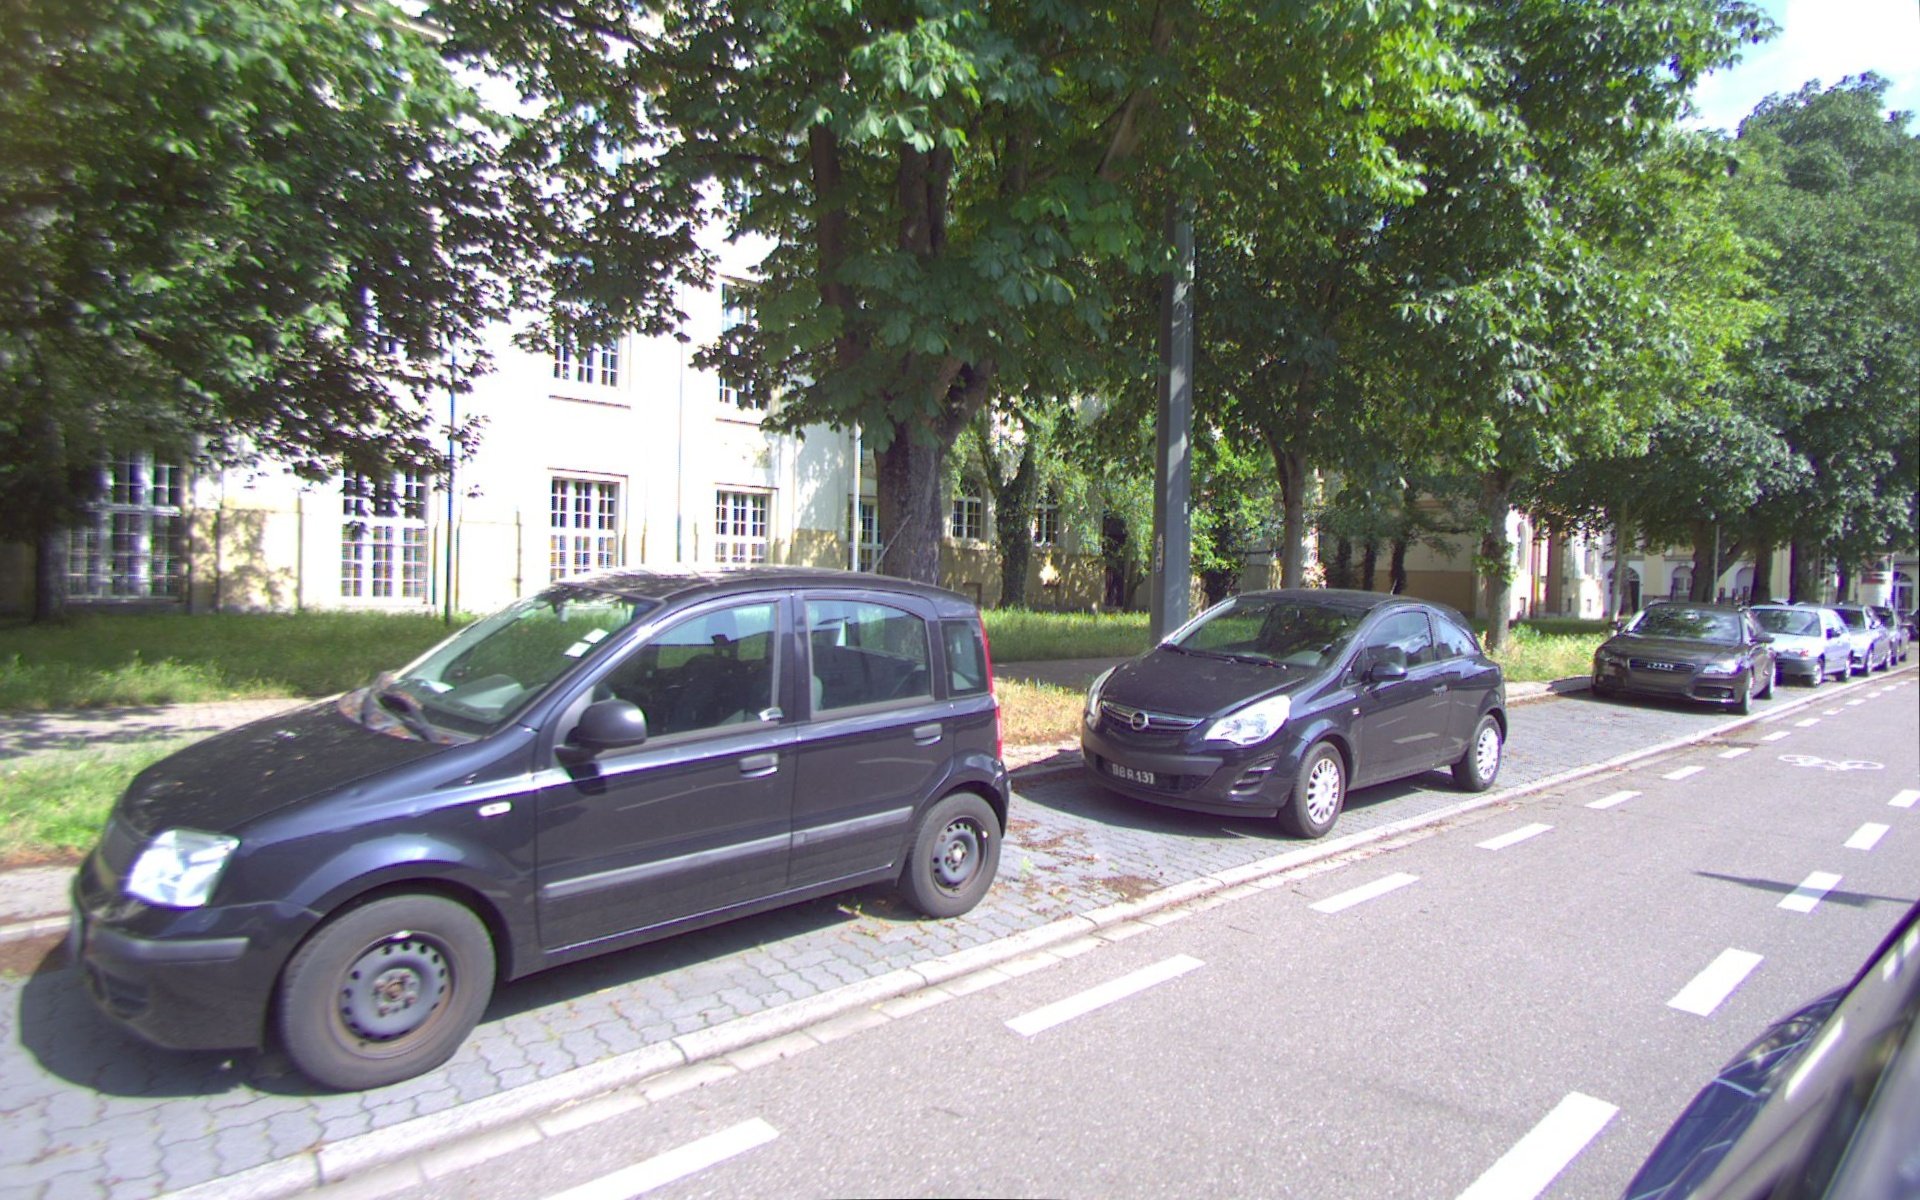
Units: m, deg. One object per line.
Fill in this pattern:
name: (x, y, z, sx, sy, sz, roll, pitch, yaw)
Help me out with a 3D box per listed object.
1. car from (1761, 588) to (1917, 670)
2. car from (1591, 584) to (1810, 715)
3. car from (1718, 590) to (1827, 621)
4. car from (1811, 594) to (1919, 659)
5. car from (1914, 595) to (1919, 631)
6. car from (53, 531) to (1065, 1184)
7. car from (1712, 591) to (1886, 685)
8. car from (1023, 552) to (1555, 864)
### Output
car: (19.346, 0.577, 22.202, 4.961, 1.458, 1.833, 0, 5, -41)
car: (11.084, 0.586, 15.003, 4.753, 1.484, 1.833, -2, 5, -45)
car: (49.198, 0.286, 61.381, 1.820, 1.676, 4.841, -1, 2, -30)
car: (23.949, 0.647, 26.540, 4.577, 1.417, 1.833, 0, 5, -43)
car: (39.256, 0.529, 40.111, 3.856, 1.404, 1.689, -1, 3, -41)
car: (-1.336, 0.548, 4.140, 3.500, 1.478, 1.558, -1, 6, -44)
car: (15.576, 0.649, 18.733, 3.942, 1.448, 1.641, 1, 4, -39)
car: (2.592, 0.548, 7.400, 4.232, 1.580, 1.695, 0, 5, -41)
